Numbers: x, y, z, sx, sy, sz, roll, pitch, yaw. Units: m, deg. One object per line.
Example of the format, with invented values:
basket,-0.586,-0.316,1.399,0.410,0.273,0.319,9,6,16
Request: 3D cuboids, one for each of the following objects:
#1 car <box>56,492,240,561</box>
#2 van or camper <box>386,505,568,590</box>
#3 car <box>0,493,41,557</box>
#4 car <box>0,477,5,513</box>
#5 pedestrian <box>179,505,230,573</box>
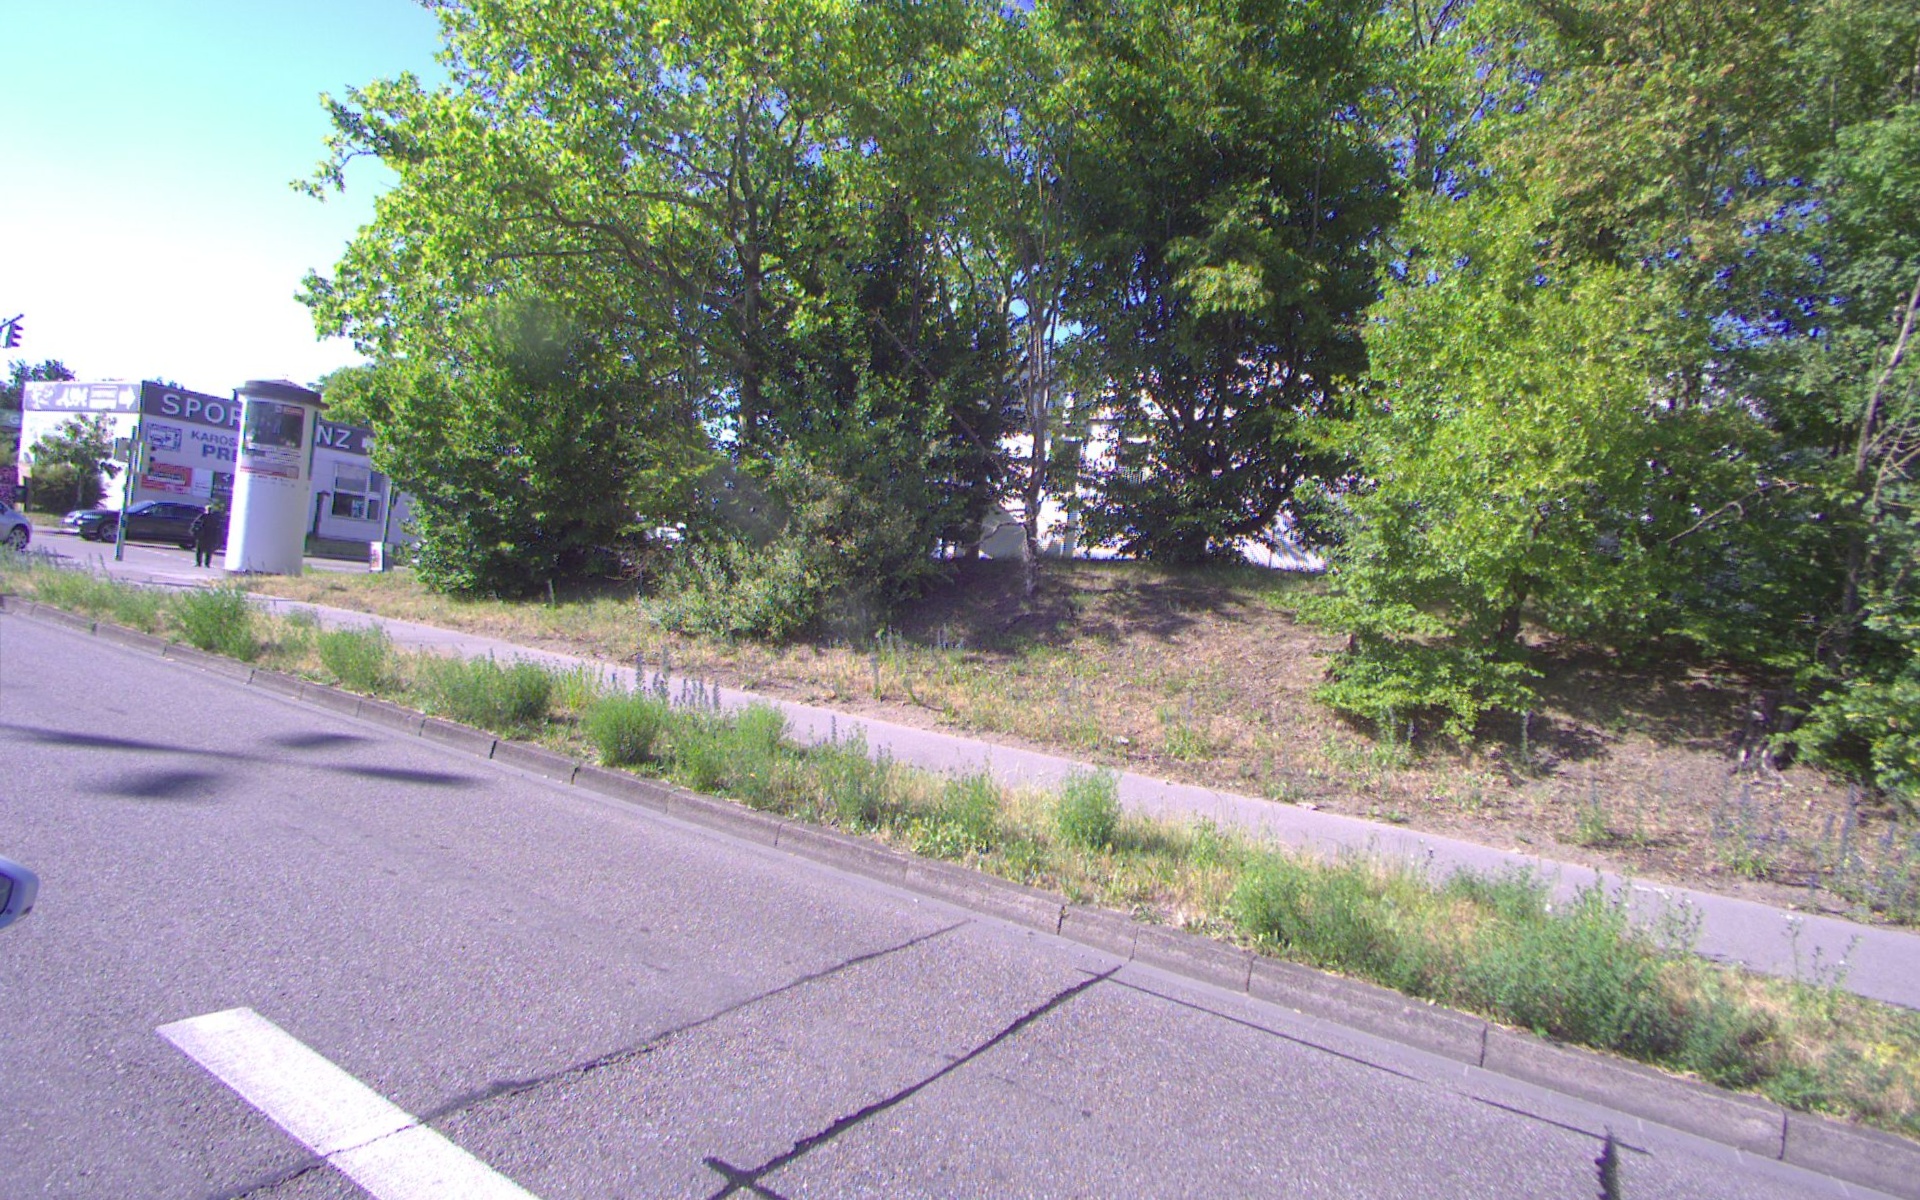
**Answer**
car,-28.727,-2.553,35.752,1.966,1.673,4.607,7,-1,31
van or camper,-20.574,-2.157,43.283,2.149,2.602,6.741,7,-1,33
car,-23.869,-1.946,23.387,1.712,1.495,3.984,8,-1,-10
car,-48.292,-5.349,47.677,1.663,1.726,4.003,7,-1,16
pedestrian,-21.014,-1.697,27.989,0.841,1.743,0.822,7,0,39
